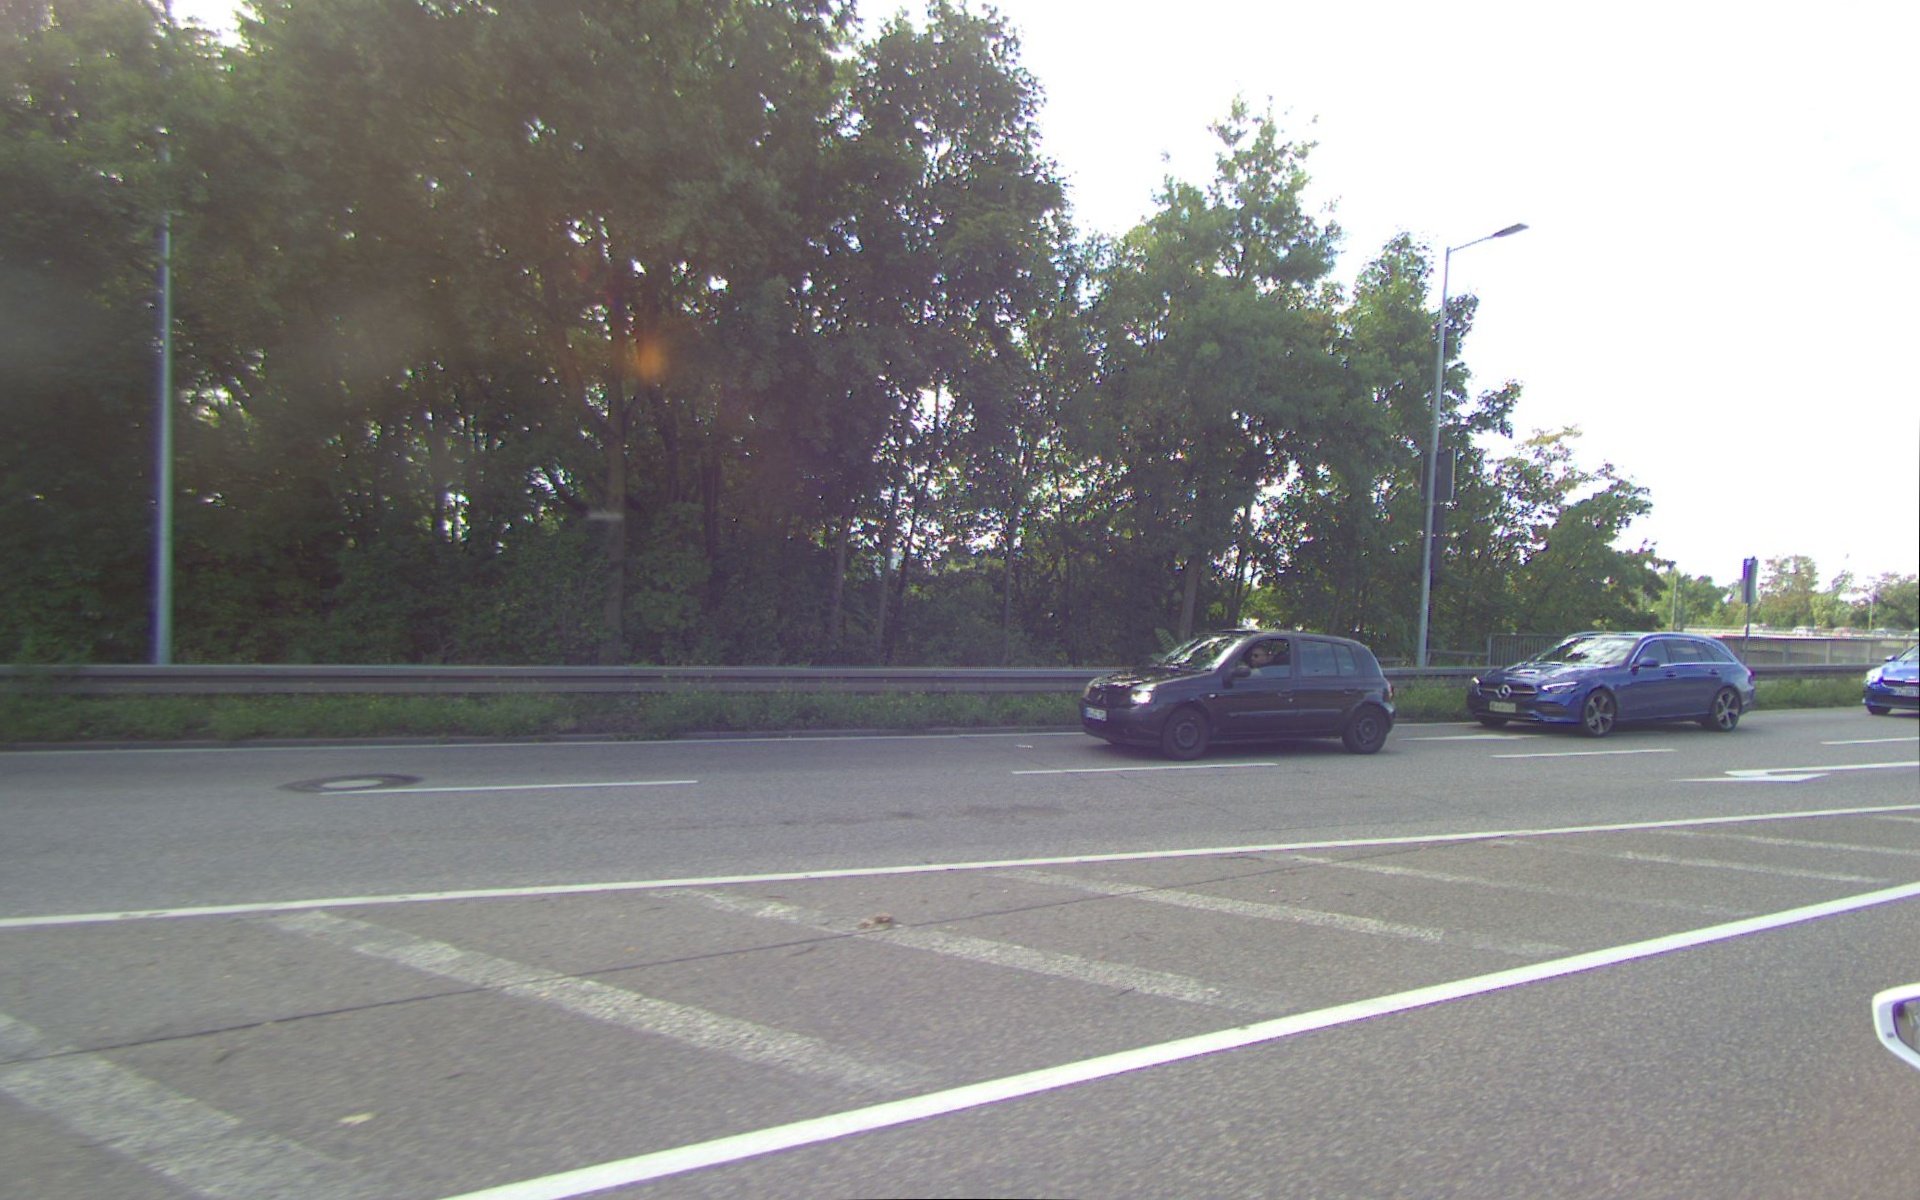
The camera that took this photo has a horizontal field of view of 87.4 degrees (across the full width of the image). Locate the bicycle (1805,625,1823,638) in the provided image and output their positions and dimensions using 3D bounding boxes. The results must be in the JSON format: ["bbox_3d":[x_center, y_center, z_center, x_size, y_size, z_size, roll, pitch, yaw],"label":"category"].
[{"bbox_3d":[94.319,3.438,110.895,0.751,1.349,1.917,1,-1,16],"label":"bicycle"}]

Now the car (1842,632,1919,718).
[{"bbox_3d":[18.557,1.359,18.566,4.303,1.467,1.887,1,-1,-26],"label":"car"}]

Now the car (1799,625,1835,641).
[{"bbox_3d":[100.378,3.840,117.684,1.743,1.769,3.839,1,-1,14],"label":"car"}]

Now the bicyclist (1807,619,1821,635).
[{"bbox_3d":[94.340,2.990,110.907,0.753,1.682,1.121,1,0,16],"label":"bicyclist"}]

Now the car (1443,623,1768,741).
[{"bbox_3d":[9.745,1.152,15.140,4.696,1.540,1.810,1,-1,-23],"label":"car"}]

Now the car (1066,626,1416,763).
[{"bbox_3d":[3.281,1.034,11.789,3.716,1.383,1.622,1,0,-20],"label":"car"}]
